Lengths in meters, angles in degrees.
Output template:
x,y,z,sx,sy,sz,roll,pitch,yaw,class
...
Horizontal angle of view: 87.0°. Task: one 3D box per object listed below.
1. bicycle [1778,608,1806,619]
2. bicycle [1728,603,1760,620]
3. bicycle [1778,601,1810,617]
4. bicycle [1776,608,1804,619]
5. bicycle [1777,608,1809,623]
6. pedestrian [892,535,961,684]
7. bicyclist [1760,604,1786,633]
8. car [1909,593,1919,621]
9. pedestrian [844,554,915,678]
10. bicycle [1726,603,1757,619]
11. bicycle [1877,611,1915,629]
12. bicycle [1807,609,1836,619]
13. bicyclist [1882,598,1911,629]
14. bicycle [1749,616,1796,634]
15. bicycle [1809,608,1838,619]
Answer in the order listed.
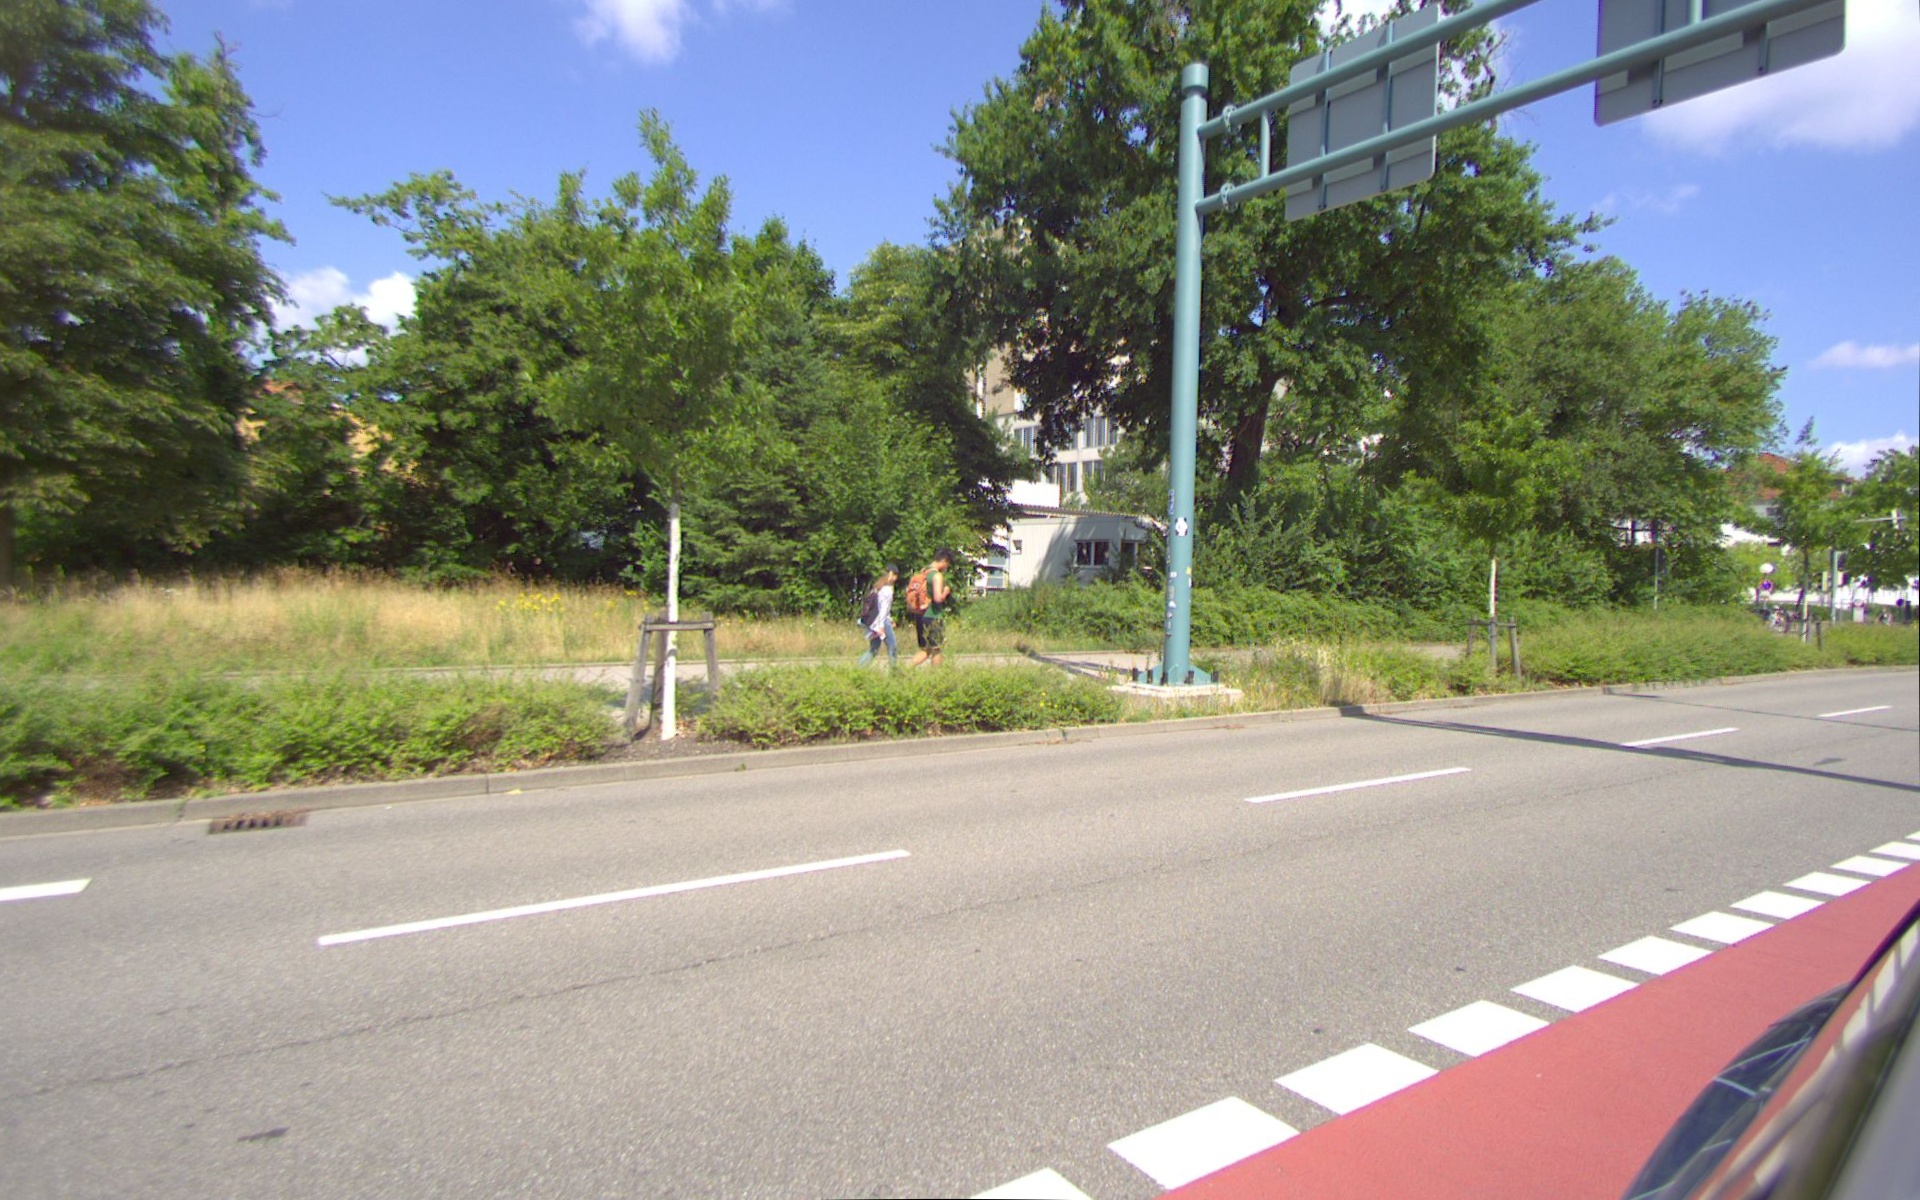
x,y,z,sx,sy,sz,roll,pitch,yaw,class
67.433,1.058,82.043,0.616,0.800,1.670,1,1,-42,bicycle
56.200,0.805,72.536,0.616,1.110,1.671,1,1,-40,bicycle
59.998,0.634,72.788,0.616,1.110,1.671,1,1,-40,bicycle
66.892,1.054,81.599,0.616,0.800,1.670,1,1,-42,bicycle
61.123,1.138,74.256,0.616,0.997,1.671,1,1,-40,bicycle
-0.425,0.116,12.790,0.626,1.824,0.569,1,1,-33,pedestrian
39.978,0.913,49.751,0.929,1.366,0.438,2,0,44,bicyclist
71.834,0.544,74.680,4.815,2.039,1.998,1,1,-40,car
-1.083,0.200,13.539,0.694,1.600,0.625,1,1,-33,pedestrian
55.649,0.775,72.084,0.616,1.110,1.671,1,1,-40,bicycle
48.056,1.004,51.954,0.609,0.844,1.512,2,1,6,bicycle
68.775,1.102,80.760,0.616,0.743,1.671,1,1,-40,bicycle
48.065,0.670,51.954,0.602,1.526,0.917,2,1,6,bicyclist
39.947,1.212,49.774,1.751,0.785,0.438,2,1,45,bicycle
68.251,1.064,80.029,0.616,0.743,1.671,1,1,-40,bicycle
